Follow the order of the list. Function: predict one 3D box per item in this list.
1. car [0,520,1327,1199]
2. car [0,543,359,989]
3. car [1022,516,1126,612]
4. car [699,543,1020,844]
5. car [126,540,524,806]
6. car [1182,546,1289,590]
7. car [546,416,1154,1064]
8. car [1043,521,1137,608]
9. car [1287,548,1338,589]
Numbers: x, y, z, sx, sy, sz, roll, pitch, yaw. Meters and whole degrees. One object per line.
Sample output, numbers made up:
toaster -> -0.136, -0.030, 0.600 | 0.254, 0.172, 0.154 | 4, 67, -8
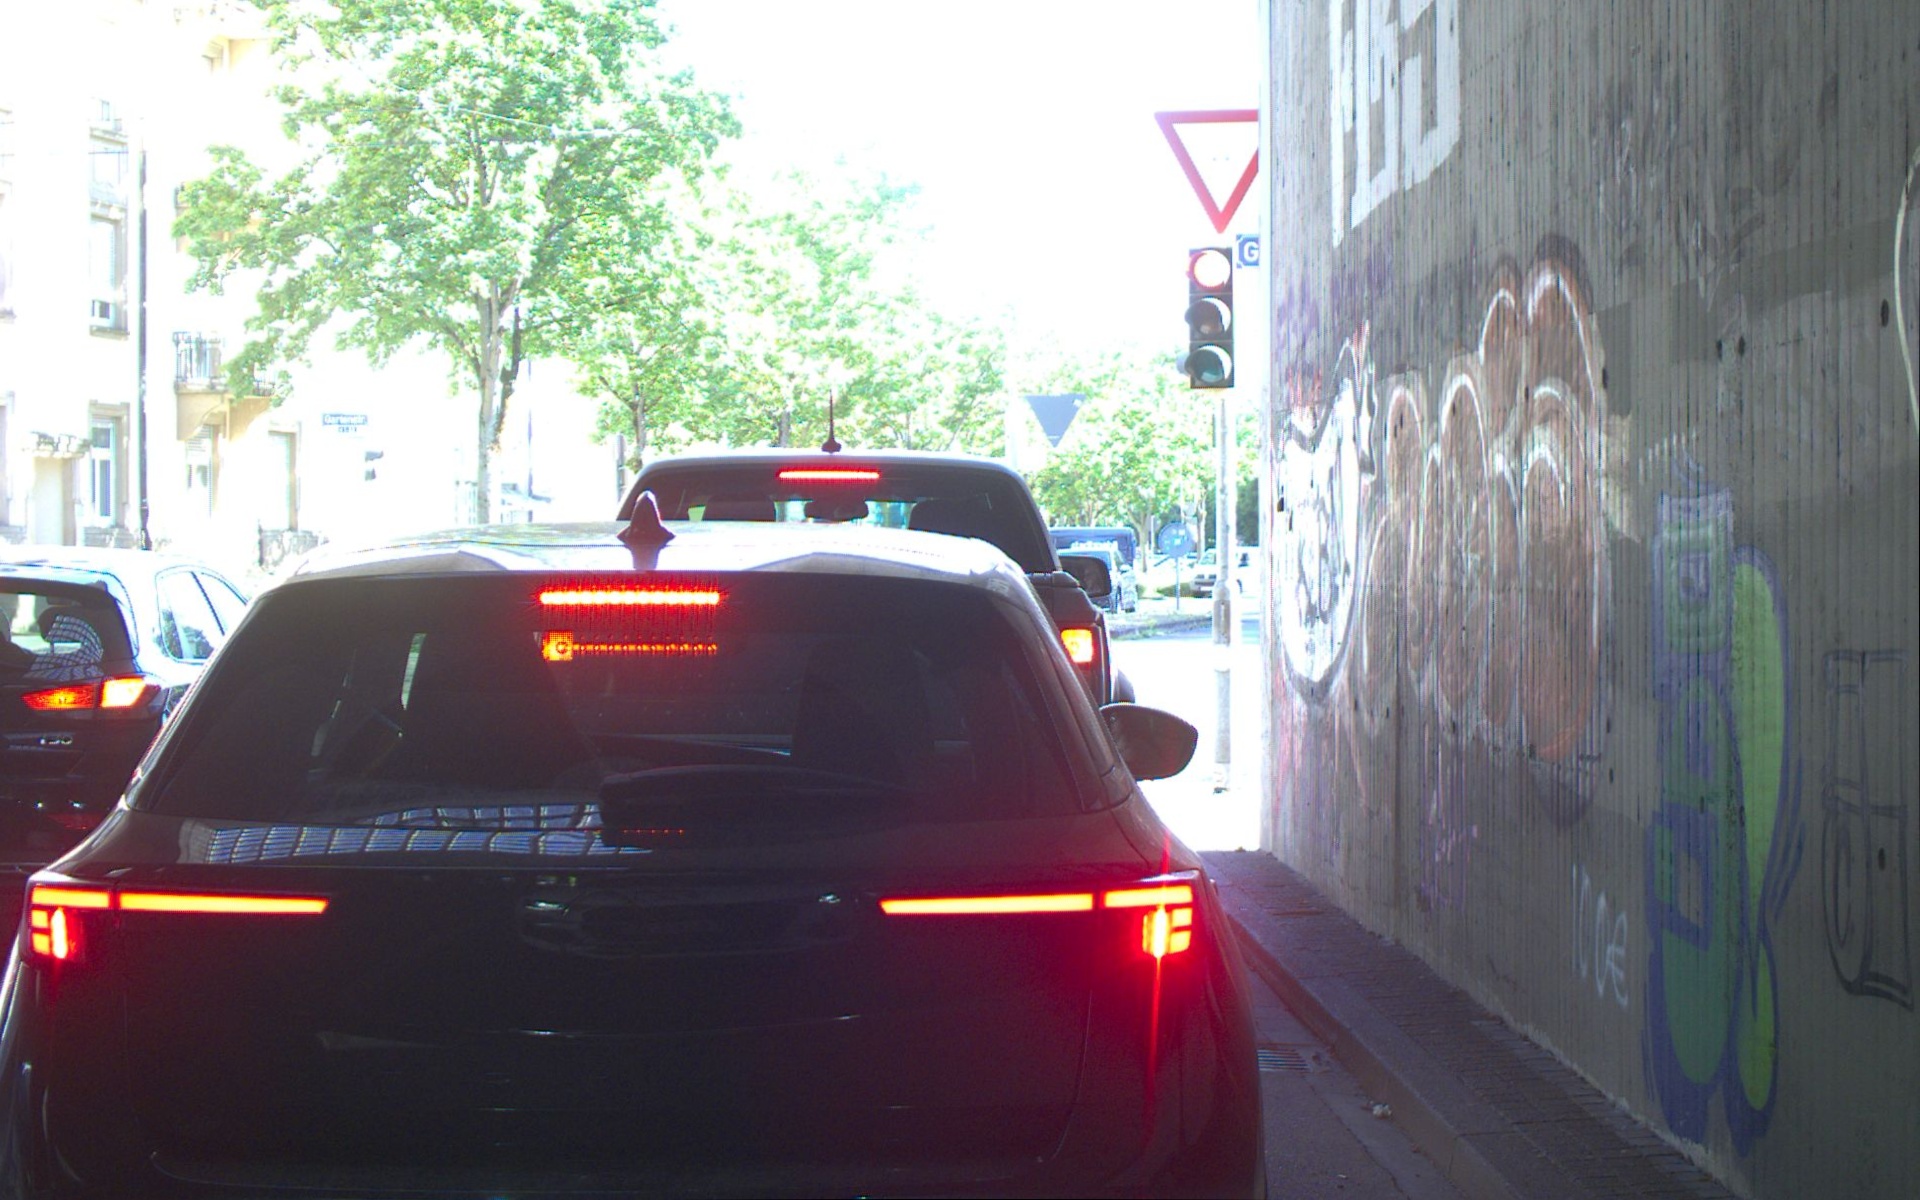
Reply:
car -> -0.471, 0.636, 6.104 | 1.762, 1.526, 4.089 | 0, 1, -1
car -> -3.520, 0.519, 13.293 | 1.762, 1.475, 3.844 | 0, 1, -1
car -> 2.087, -0.656, 62.200 | 1.754, 1.661, 3.944 | 1, 1, 3
car -> -0.527, 0.436, 19.264 | 1.609, 1.508, 4.054 | 0, 1, -1
car -> -3.769, 0.373, 21.017 | 1.762, 1.475, 3.844 | 0, 1, -1
car -> 10.898, -1.264, 135.697 | 1.821, 1.661, 4.805 | 1, 1, 39
car -> -0.343, 0.374, 12.045 | 1.762, 1.876, 4.146 | 0, 1, -1
car -> 2.608, -0.710, 68.319 | 1.754, 1.661, 3.944 | 1, 1, 3
car -> 14.562, -1.286, 141.712 | 1.754, 1.661, 3.943 | 1, 1, 11
